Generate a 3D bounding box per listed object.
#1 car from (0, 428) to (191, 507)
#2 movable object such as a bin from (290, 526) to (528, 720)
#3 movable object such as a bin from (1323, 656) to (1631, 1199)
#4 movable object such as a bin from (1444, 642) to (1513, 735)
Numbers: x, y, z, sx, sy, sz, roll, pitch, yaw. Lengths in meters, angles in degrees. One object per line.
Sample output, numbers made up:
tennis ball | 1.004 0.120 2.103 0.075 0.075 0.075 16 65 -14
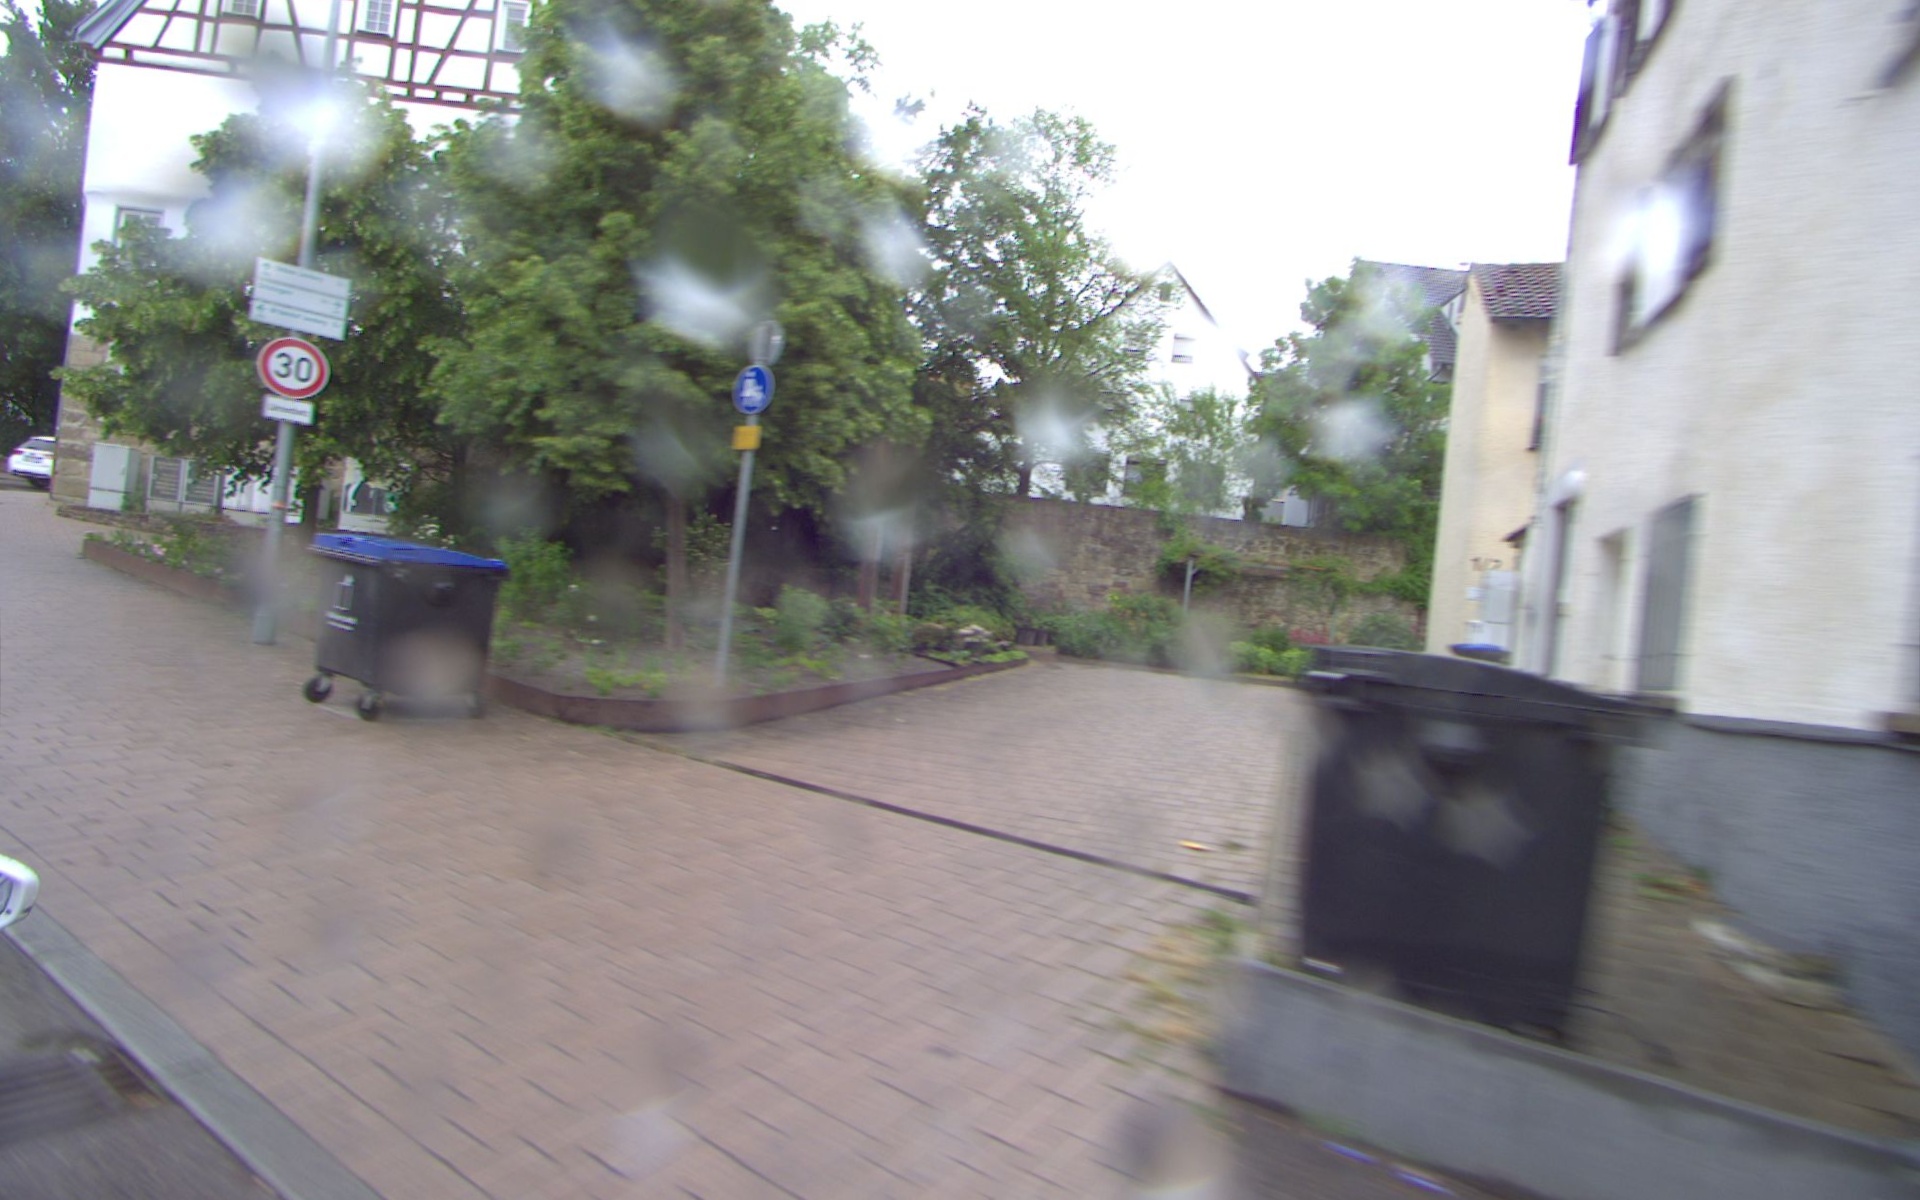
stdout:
car | -24.952 -3.768 28.993 1.855 1.617 4.322 8 3 7
movable object such as a bin | -4.322 0.190 7.908 1.169 1.329 1.154 7 -1 38
movable object such as a bin | 1.533 0.928 3.055 0.632 1.459 0.413 5 -1 8
movable object such as a bin | 5.601 0.942 10.899 0.583 0.934 0.657 2 0 23
